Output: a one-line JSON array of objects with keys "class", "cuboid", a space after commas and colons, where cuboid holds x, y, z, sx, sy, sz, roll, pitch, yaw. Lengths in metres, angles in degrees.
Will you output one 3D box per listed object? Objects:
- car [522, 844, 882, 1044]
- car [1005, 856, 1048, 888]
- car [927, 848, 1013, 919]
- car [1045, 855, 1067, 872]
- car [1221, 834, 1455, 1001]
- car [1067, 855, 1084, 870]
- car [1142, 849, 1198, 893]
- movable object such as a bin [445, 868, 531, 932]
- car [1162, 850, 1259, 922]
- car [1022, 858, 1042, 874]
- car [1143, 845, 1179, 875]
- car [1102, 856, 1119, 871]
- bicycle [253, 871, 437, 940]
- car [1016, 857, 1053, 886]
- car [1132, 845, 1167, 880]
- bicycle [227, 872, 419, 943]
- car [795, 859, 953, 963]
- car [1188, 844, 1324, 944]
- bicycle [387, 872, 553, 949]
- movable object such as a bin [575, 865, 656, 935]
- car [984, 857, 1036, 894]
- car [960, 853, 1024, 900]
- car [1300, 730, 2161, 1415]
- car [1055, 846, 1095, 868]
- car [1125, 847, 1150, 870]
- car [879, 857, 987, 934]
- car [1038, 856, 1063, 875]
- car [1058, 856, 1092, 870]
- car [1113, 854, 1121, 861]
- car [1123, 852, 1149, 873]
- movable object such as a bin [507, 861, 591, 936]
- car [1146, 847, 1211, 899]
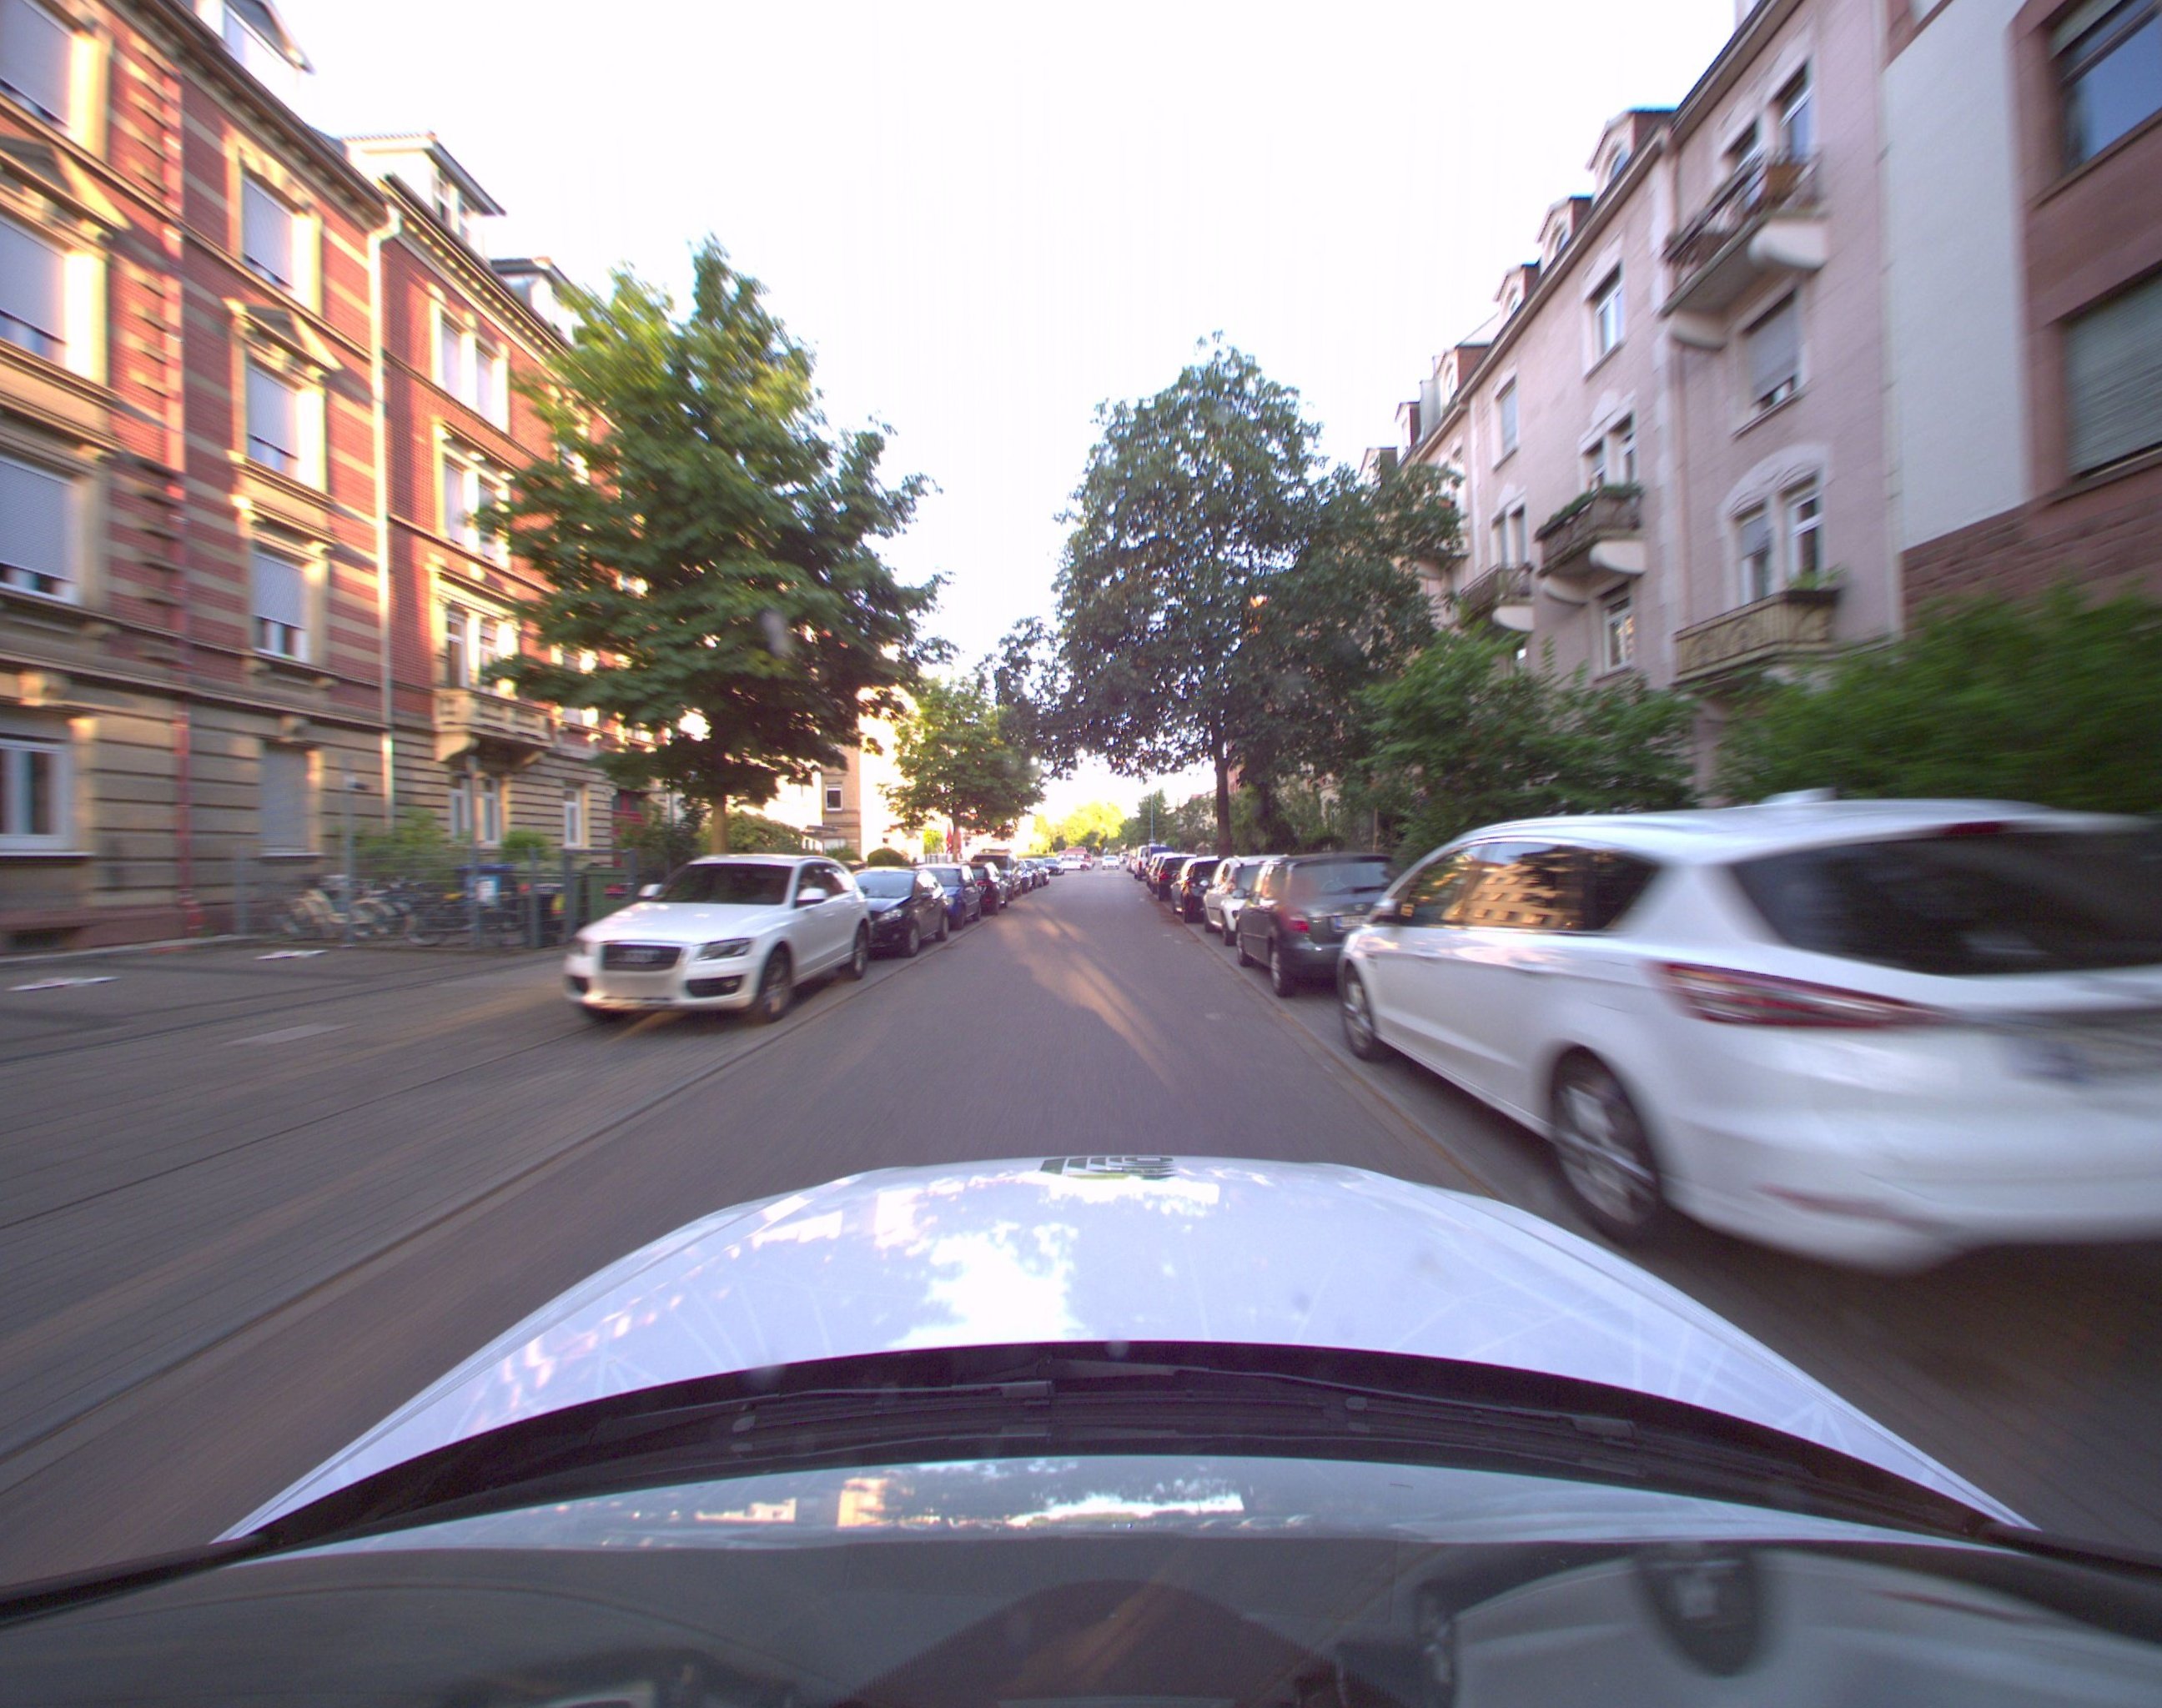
[{"class": "car", "cuboid": [-3.872, 0.784, 9.370, 1.914, 1.717, 4.429, -1, 0, 2]}, {"class": "car", "cuboid": [-2.627, 0.832, 39.732, 1.709, 1.441, 3.632, -1, 0, 2]}, {"class": "car", "cuboid": [-3.067, 0.757, 23.248, 1.709, 1.790, 4.217, -1, 0, 2]}, {"class": "car", "cuboid": [-2.248, 0.841, 73.459, 1.709, 1.441, 3.633, -1, 0, 3]}, {"class": "car", "cuboid": [2.899, 0.645, 10.155, 1.680, 1.606, 4.211, -1, -1, 2]}, {"class": "car", "cuboid": [-0.577, 0.836, 84.813, 1.711, 1.441, 3.628, -1, 0, -1]}, {"class": "car", "cuboid": [3.420, 0.646, 31.942, 1.682, 1.606, 3.938, -1, -1, -1]}, {"class": "movable object such as a bin", "cuboid": [-12.048, 0.917, 16.590, 1.097, 1.209, 1.001, 0, 1, -12]}, {"class": "car", "cuboid": [2.991, 0.698, 19.560, 1.680, 1.441, 4.211, -4, -1, 1]}, {"class": "car", "cuboid": [-4.706, 1.102, 78.517, 1.711, 1.441, 3.628, -2, 0, -1]}, {"class": "car", "cuboid": [4.298, 0.348, 44.186, 1.534, 1.521, 3.430, -1, -1, -1]}, {"class": "car", "cuboid": [3.206, 1.046, 88.886, 1.806, 1.596, 3.484, -1, 0, 2]}, {"class": "bicycle", "cuboid": [-13.378, 0.930, 14.865, 2.528, 1.192, 0.641, 1, 0, -9]}, {"class": "car", "cuboid": [-2.559, 0.938, 45.434, 1.592, 1.441, 3.840, -1, 0, 3]}, {"class": "car", "cuboid": [3.975, 0.475, 47.918, 1.675, 1.941, 3.879, -1, -1, -1]}, {"class": "bicycle", "cuboid": [-13.298, 0.937, 14.348, 2.528, 1.192, 0.641, 1, 0, -9]}, {"class": "car", "cuboid": [-3.498, 0.897, 14.470, 1.709, 1.566, 3.782, -1, -1, 2]}, {"class": "car", "cuboid": [3.117, 0.667, 15.238, 1.682, 1.606, 3.747, -1, -1, -1]}, {"class": "bicycle", "cuboid": [-10.474, 0.950, 13.976, 2.515, 1.192, 0.645, 1, 0, 7]}, {"class": "movable object such as a bin", "cuboid": [-9.352, 0.906, 16.402, 1.007, 1.321, 1.007, 1, 1, 6]}, {"class": "car", "cuboid": [-3.006, 0.875, 35.153, 1.709, 1.465, 3.988, -1, 0, 2]}, {"class": "car", "cuboid": [-3.218, 0.773, 30.187, 1.709, 1.596, 4.521, -1, 0, 2]}, {"class": "car", "cuboid": [2.749, 0.555, 4.403, 1.793, 1.711, 4.599, -2, -1, -1]}, {"class": "car", "cuboid": [-0.643, 0.344, 90.353, 4.336, 2.318, 1.745, -1, 0, 0]}, {"class": "car", "cuboid": [4.707, 0.356, 68.383, 1.682, 1.811, 3.938, -1, -1, -1]}, {"class": "car", "cuboid": [-3.388, 0.894, 19.331, 1.709, 1.566, 3.789, -1, 0, 2]}, {"class": "car", "cuboid": [-2.507, 0.945, 67.568, 1.709, 1.486, 3.632, -1, -1, 3]}, {"class": "car", "cuboid": [-0.624, 0.954, 87.788, 3.609, 1.461, 1.605, -1, 0, -2]}, {"class": "car", "cuboid": [8.290, 0.796, 187.029, 1.709, 1.596, 3.484, -1, 0, 2]}, {"class": "car", "cuboid": [4.258, 0.656, 63.640, 1.682, 1.606, 3.938, -1, -1, -1]}, {"class": "movable object such as a bin", "cuboid": [-10.590, 0.870, 16.260, 1.097, 1.414, 1.001, 0, 1, -12]}, {"class": "car", "cuboid": [3.236, 0.611, 27.650, 1.682, 1.606, 3.938, -1, -1, -1]}]
